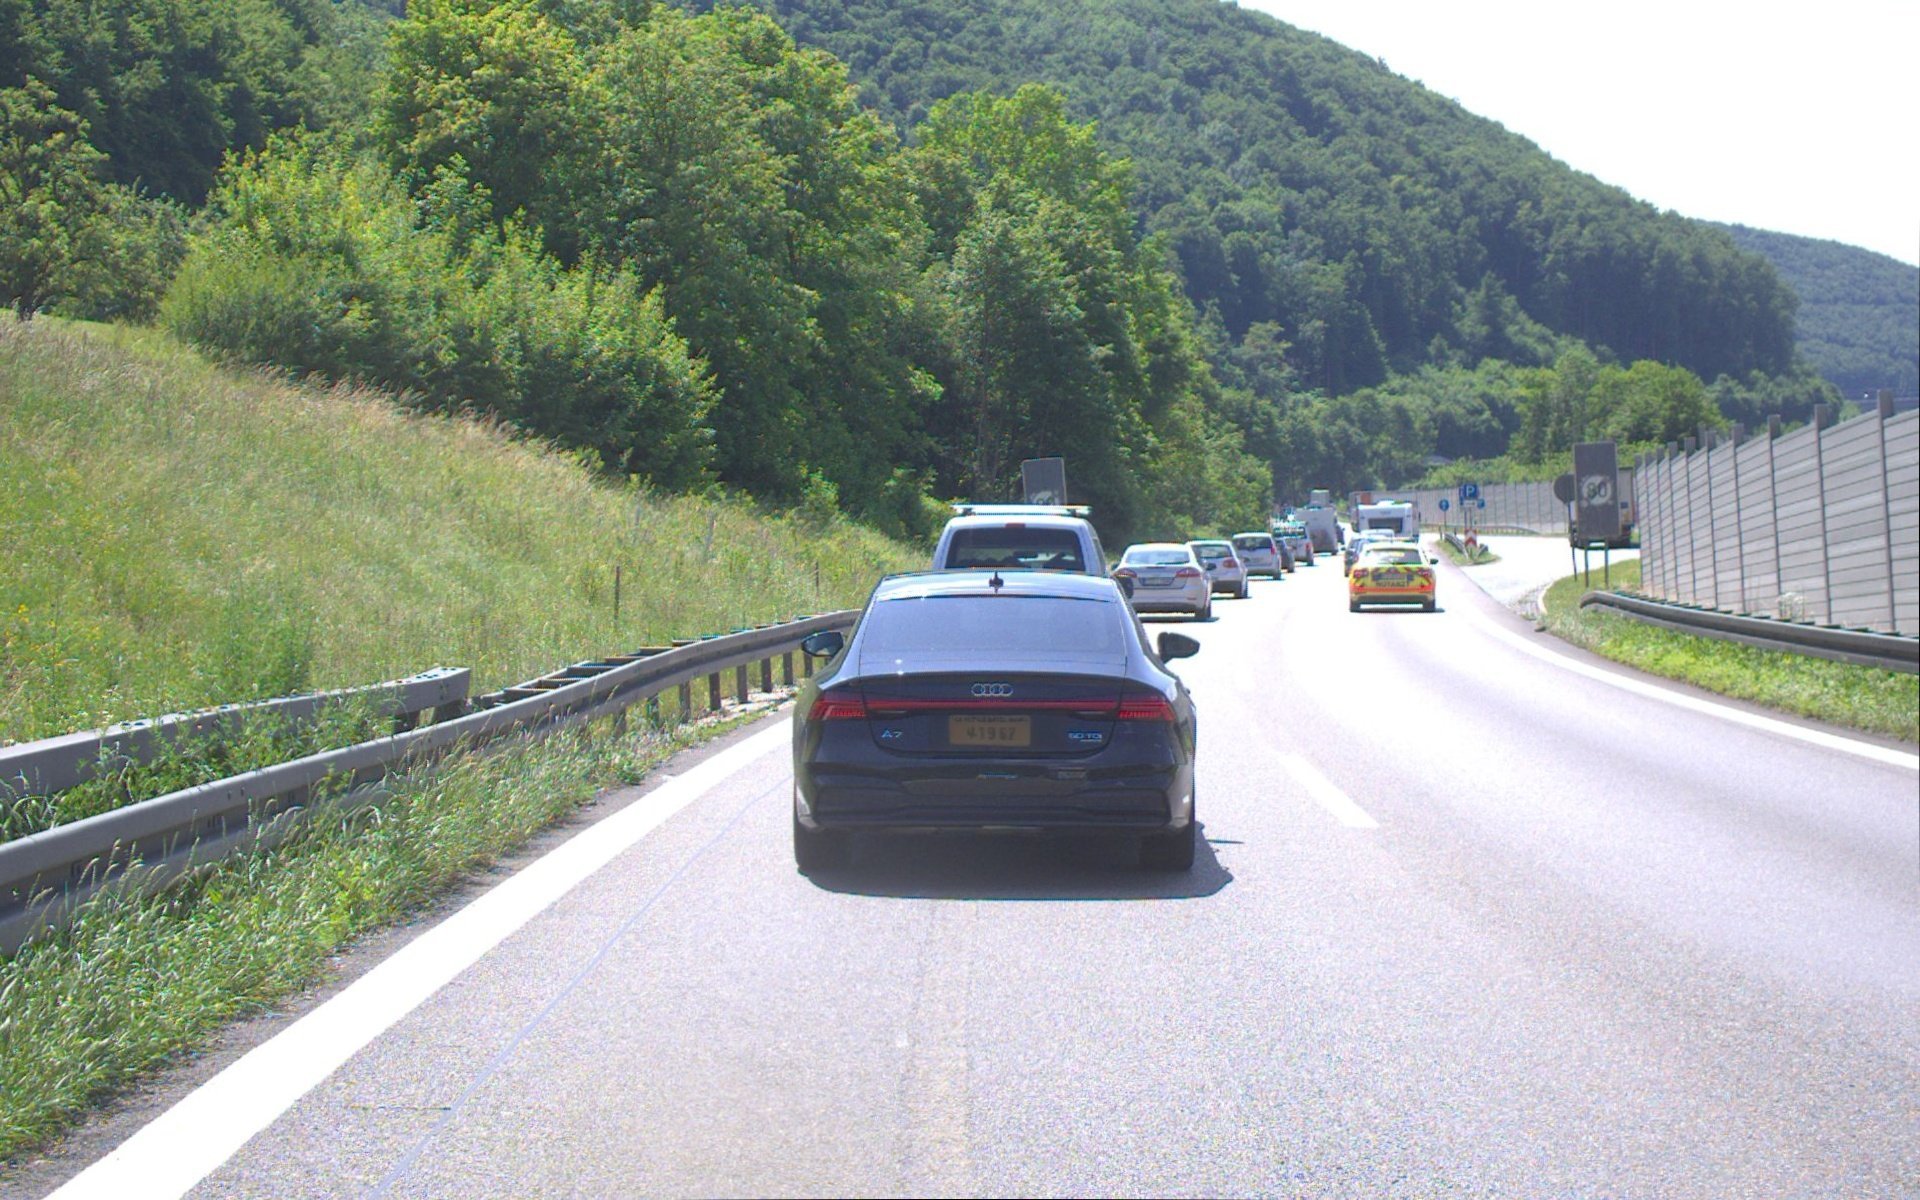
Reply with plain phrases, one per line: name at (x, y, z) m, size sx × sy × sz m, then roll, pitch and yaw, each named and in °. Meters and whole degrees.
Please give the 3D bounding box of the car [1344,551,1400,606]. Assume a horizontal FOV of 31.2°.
car at (11.803, -0.611, 98.409) m, size 1.530 × 1.520 × 3.596 m, roll 1°, pitch 0°, yaw 8°

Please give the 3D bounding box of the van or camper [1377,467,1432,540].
van or camper at (24.582, -5.299, 190.267) m, size 2.795 × 3.894 × 6.166 m, roll 1°, pitch 0°, yaw 6°

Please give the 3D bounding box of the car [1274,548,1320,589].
car at (13.268, -1.234, 135.290) m, size 1.522 × 1.547 × 3.513 m, roll 2°, pitch 1°, yaw 10°

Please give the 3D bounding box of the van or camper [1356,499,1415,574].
van or camper at (18.381, -2.722, 148.372) m, size 2.430 × 3.144 × 5.202 m, roll 1°, pitch 0°, yaw 8°

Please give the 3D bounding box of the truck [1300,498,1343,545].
truck at (20.780, -4.485, 197.272) m, size 2.065 × 2.596 × 5.612 m, roll 2°, pitch 1°, yaw 9°

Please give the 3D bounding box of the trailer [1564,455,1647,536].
trailer at (32.441, -5.213, 173.142) m, size 3.412 × 3.887 × 11.148 m, roll 0°, pitch 1°, yaw 7°

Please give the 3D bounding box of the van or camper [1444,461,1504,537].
van or camper at (27.373, -5.348, 183.151) m, size 2.795 × 3.828 × 6.166 m, roll 1°, pitch 0°, yaw 6°

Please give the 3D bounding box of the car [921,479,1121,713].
car at (0.600, -0.061, 31.121) m, size 1.521 × 1.961 × 3.514 m, roll 2°, pitch 1°, yaw 5°

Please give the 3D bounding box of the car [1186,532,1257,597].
car at (6.601, -0.901, 86.545) m, size 1.521 × 1.547 × 3.513 m, roll 2°, pitch 1°, yaw 8°

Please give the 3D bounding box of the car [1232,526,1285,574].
car at (10.226, -1.711, 117.718) m, size 1.521 × 1.547 × 3.513 m, roll 2°, pitch 1°, yaw 9°

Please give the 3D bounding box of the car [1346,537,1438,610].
car at (9.177, -0.578, 72.913) m, size 1.879 × 1.493 × 3.999 m, roll 0°, pitch 1°, yaw 8°

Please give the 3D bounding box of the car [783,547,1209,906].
car at (0.153, 0.524, 16.716) m, size 1.812 × 1.509 × 3.514 m, roll 2°, pitch 1°, yaw 0°

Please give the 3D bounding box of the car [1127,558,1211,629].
car at (4.040, -0.142, 66.128) m, size 1.521 × 1.290 × 3.514 m, roll 1°, pitch 1°, yaw 5°

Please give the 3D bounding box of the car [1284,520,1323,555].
car at (15.542, -2.815, 155.503) m, size 1.521 × 1.547 × 3.513 m, roll 2°, pitch 1°, yaw 9°
